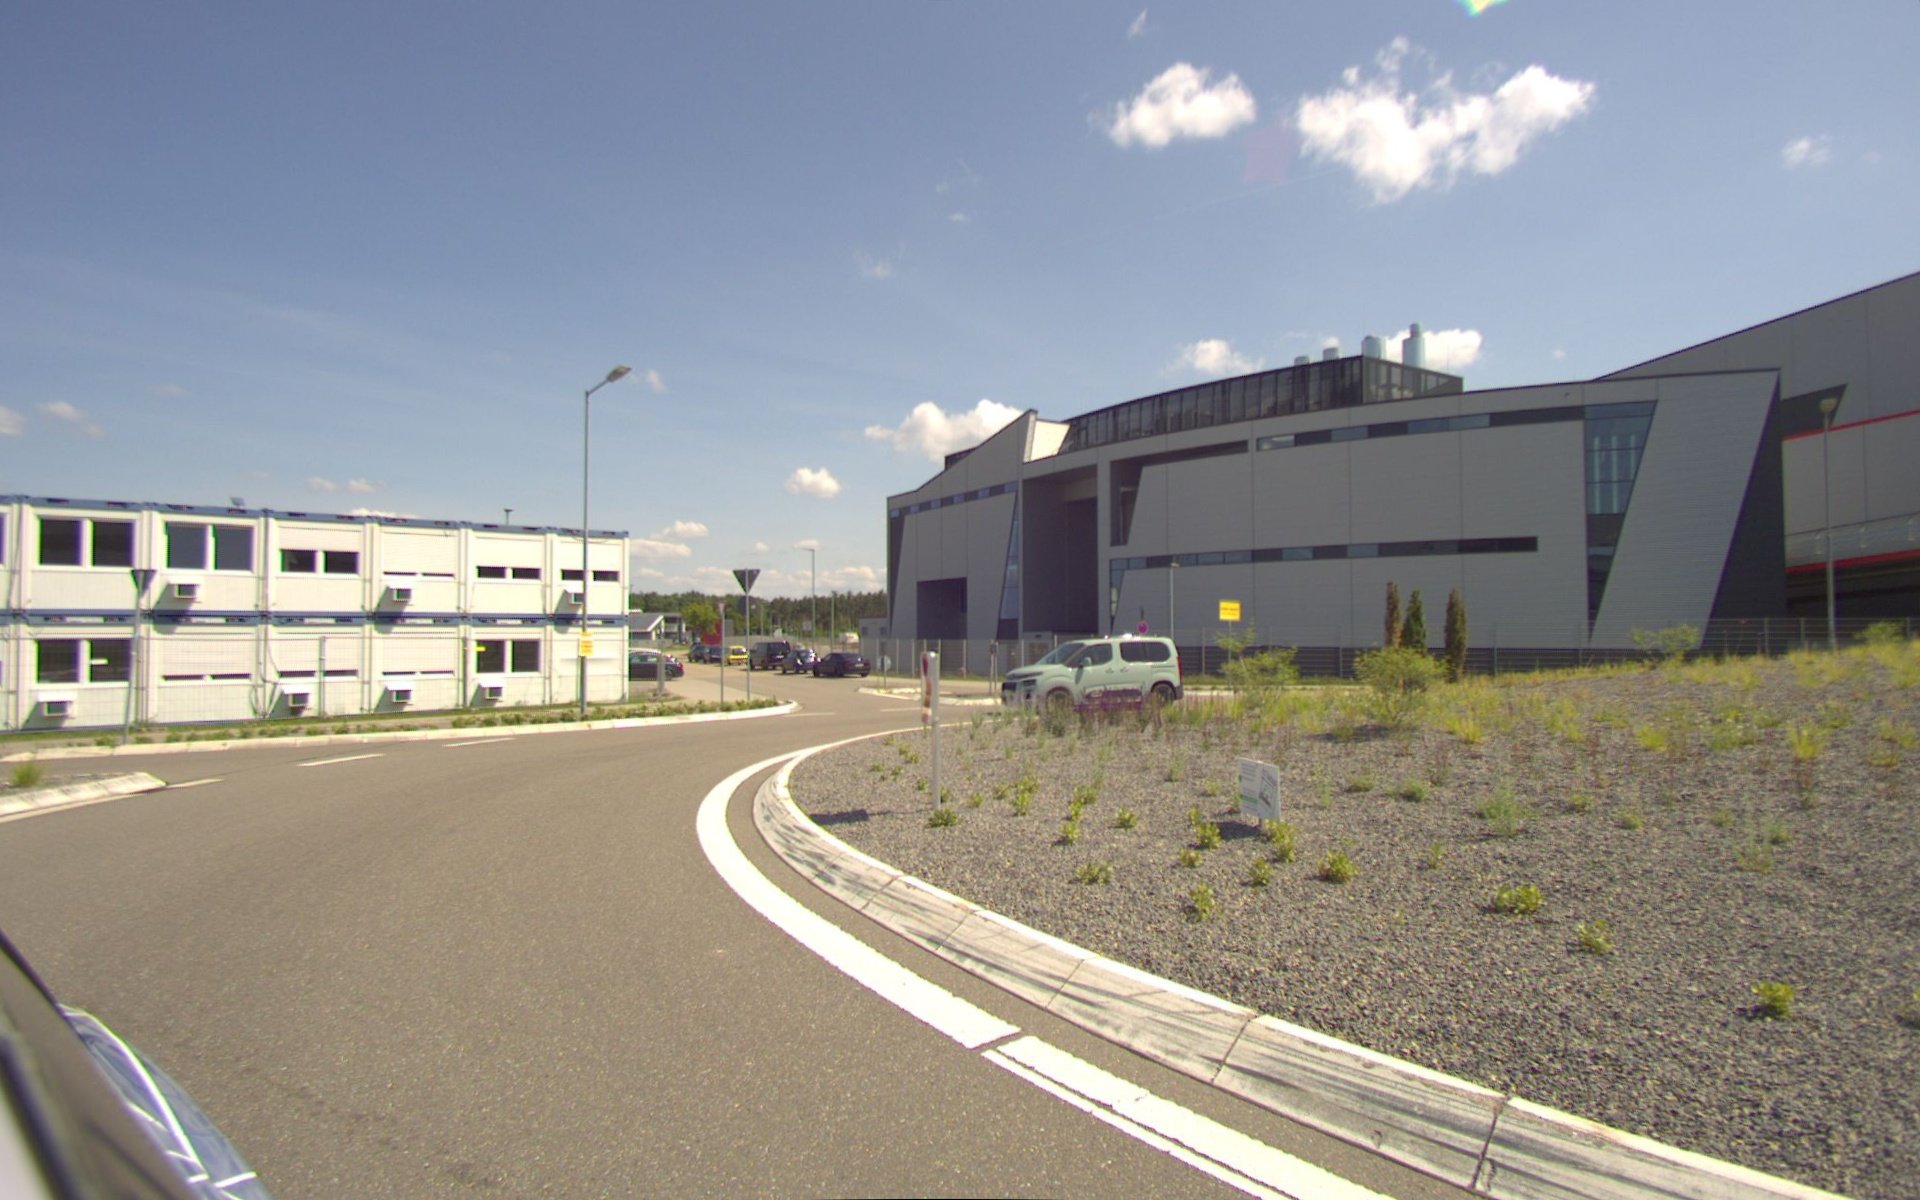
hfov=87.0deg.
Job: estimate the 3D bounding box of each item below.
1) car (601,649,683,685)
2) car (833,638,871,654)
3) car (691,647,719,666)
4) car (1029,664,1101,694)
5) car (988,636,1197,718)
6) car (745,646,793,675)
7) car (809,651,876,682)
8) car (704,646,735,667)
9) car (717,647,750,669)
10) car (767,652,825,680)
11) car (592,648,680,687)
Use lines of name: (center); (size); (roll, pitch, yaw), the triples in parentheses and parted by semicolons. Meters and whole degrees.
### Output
car: (-17.754, 3.700, 56.485); (4.239, 1.881, 2.006); (0, -2, -22)
car: (-13.087, 5.520, 122.685); (4.242, 1.881, 2.005); (1, -2, -34)
car: (-22.321, 4.939, 88.487); (1.965, 1.561, 4.327); (0, -2, -20)
car: (6.670, 4.964, 64.339); (4.242, 1.703, 2.005); (1, -2, -34)
car: (3.136, 1.792, 24.163); (4.482, 1.793, 2.006); (0, -3, -19)
car: (-13.141, 4.097, 69.507); (1.966, 1.845, 4.327); (1, -2, -29)
car: (-6.688, 3.725, 57.206); (1.967, 1.561, 4.324); (1, -2, -35)
car: (-19.865, 4.631, 83.447); (1.965, 1.561, 4.327); (0, -2, -20)
car: (-17.711, 4.495, 78.889); (1.965, 1.561, 4.327); (0, -2, -20)
car: (-10.273, 4.101, 63.221); (1.967, 1.561, 4.325); (1, -2, -34)
car: (-16.866, 3.462, 52.690); (4.239, 1.881, 2.006); (0, -2, -22)
